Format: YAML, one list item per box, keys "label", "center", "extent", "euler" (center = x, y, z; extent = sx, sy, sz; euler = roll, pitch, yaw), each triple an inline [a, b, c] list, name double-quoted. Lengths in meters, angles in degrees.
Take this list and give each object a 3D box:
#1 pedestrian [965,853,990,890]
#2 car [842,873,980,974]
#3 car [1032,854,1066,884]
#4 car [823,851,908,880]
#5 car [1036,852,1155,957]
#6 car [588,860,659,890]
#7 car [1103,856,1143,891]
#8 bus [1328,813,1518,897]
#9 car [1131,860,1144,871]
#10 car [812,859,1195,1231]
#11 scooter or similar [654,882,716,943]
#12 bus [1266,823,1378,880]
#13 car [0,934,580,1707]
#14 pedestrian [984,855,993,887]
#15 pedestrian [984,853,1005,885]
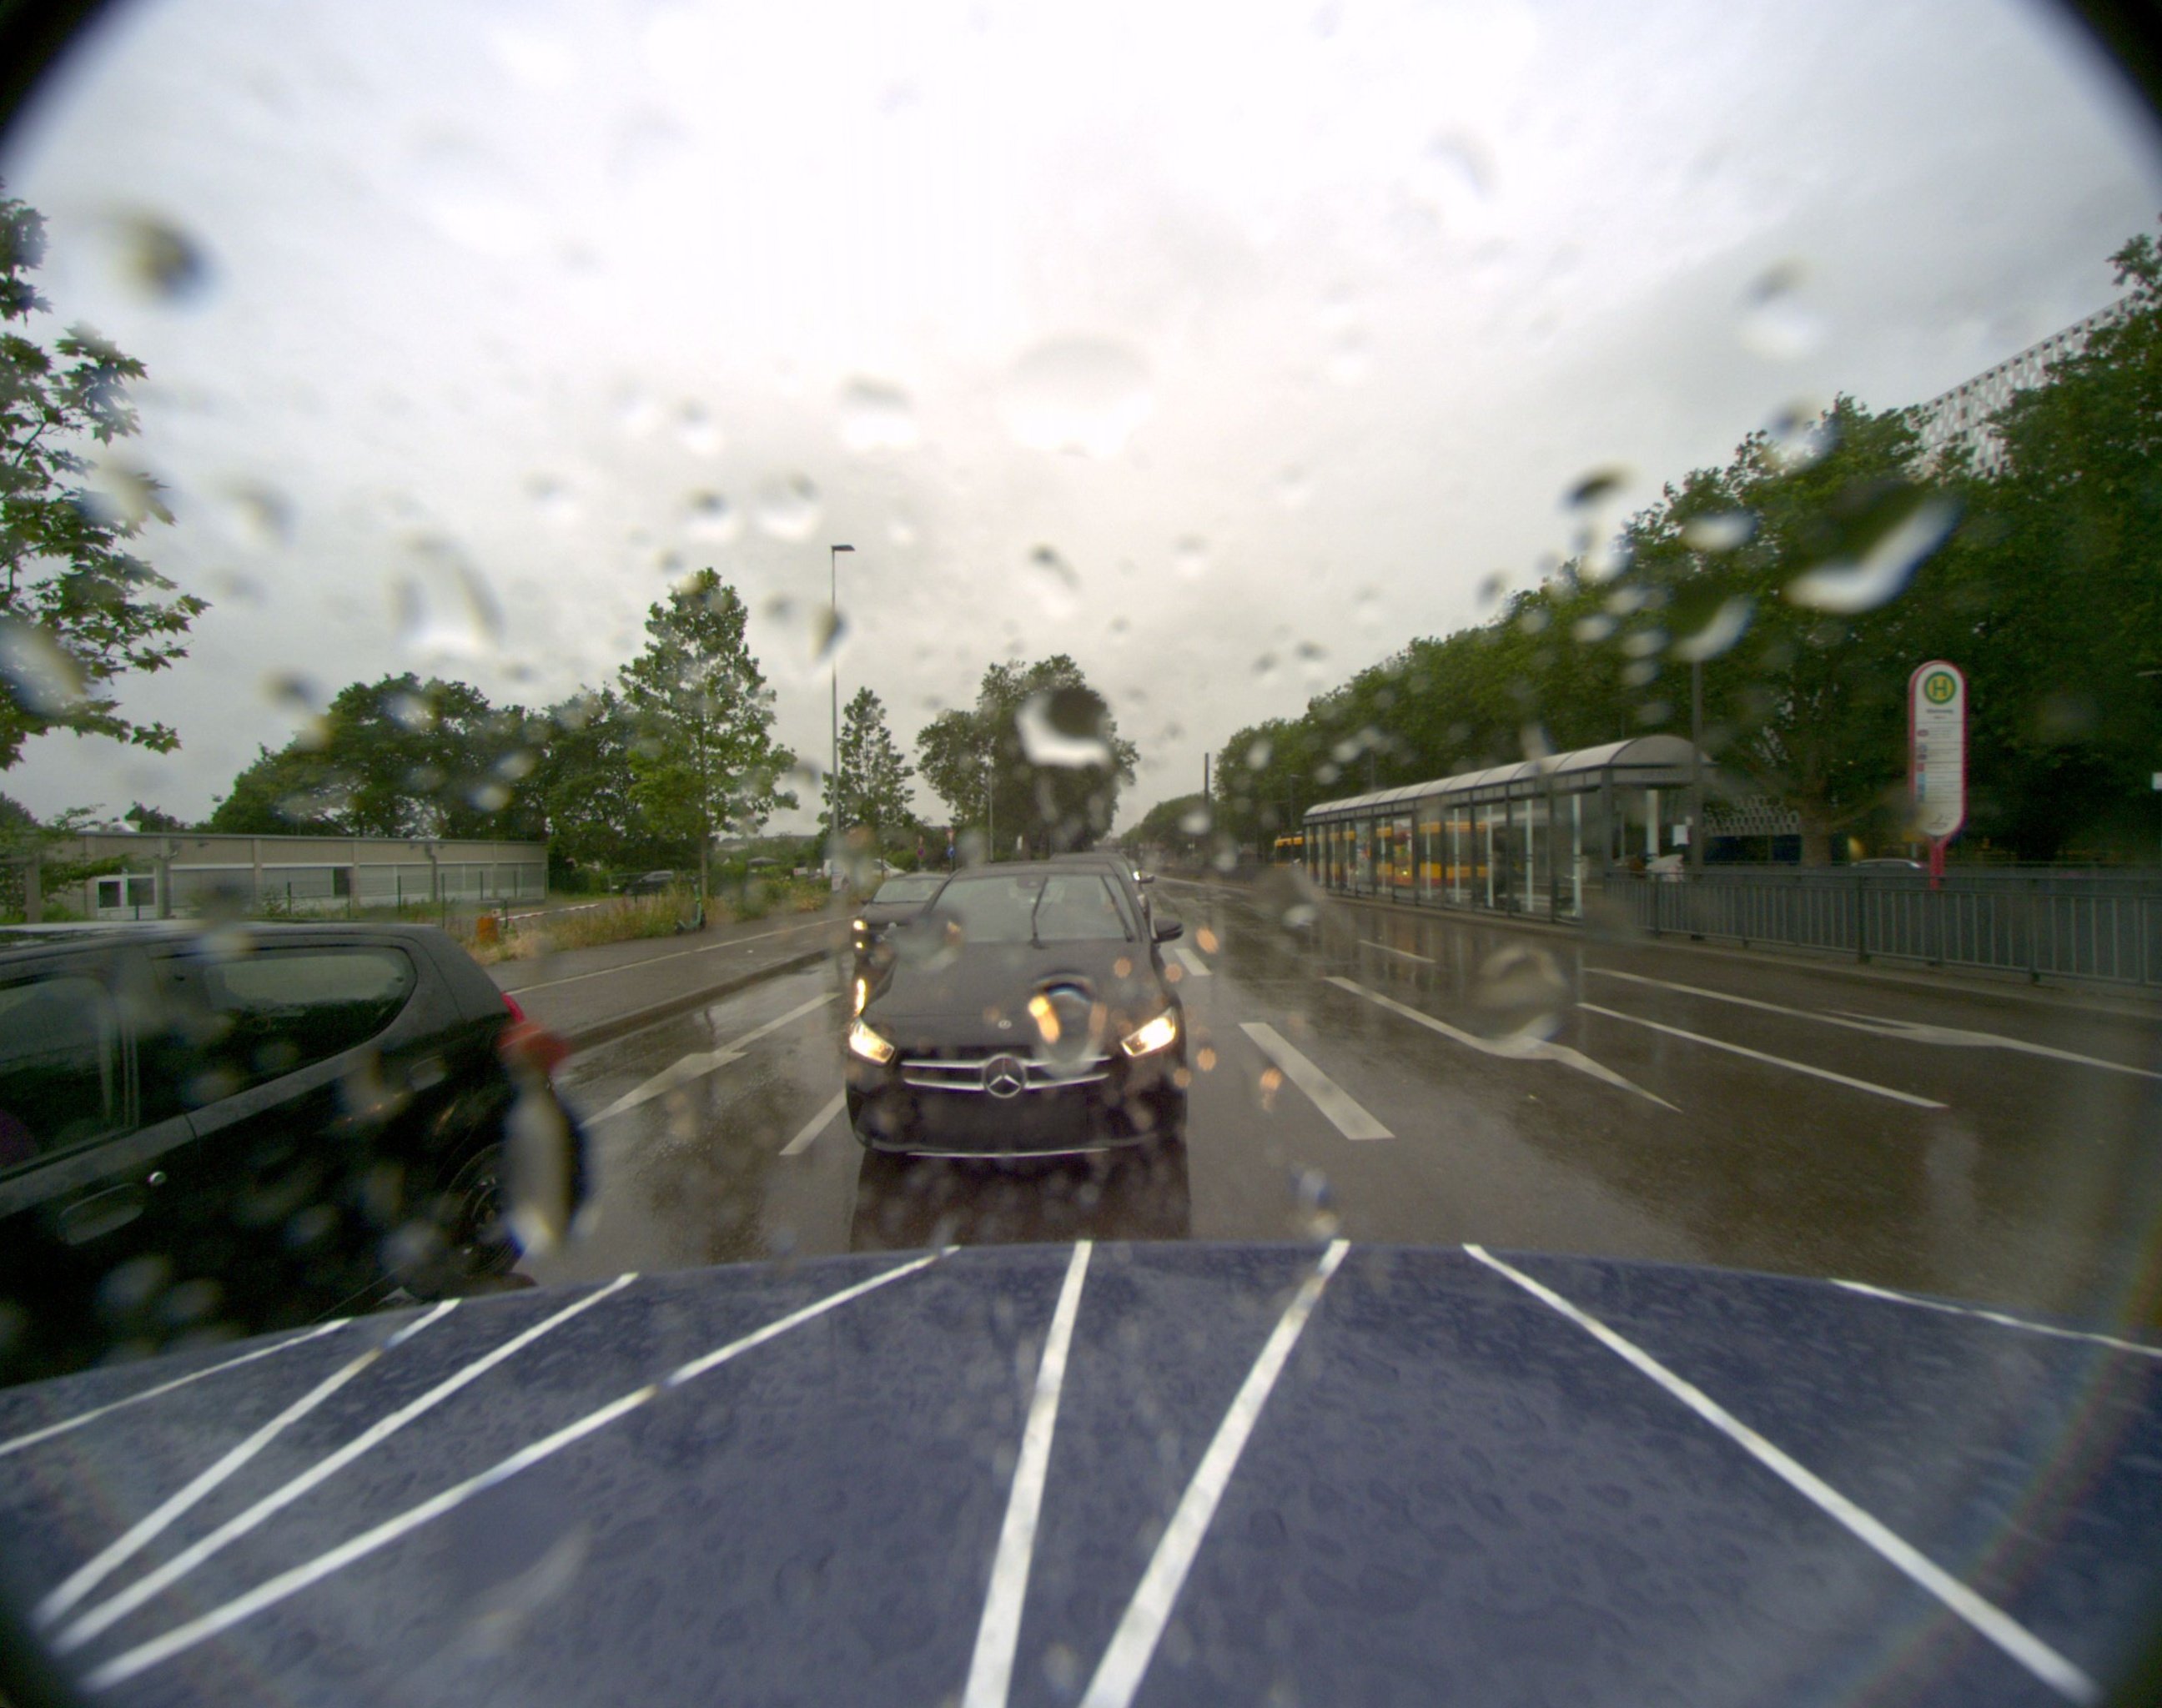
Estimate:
- label: "pedestrian"
  center: [-4.977, 0.843, 36.739]
  extent: [1.082, 1.746, 0.969]
  euler: [0, 1, 0]
- label: "car"
  center: [-2.883, 1.130, 13.647]
  extent: [1.633, 1.420, 3.624]
  euler: [-2, 0, 0]
- label: "car"
  center: [-1.779, 0.846, 43.794]
  extent: [1.698, 1.565, 3.813]
  euler: [-2, 1, 1]
- label: "car"
  center: [-13.549, 0.702, 48.055]
  extent: [4.759, 1.640, 1.999]
  euler: [-2, 1, -2]
- label: "car"
  center: [0.201, 0.718, 12.519]
  extent: [1.633, 1.420, 3.624]
  euler: [-2, 0, 0]
- label: "car"
  center: [-33.970, 1.512, 56.529]
  extent: [3.996, 2.002, 2.000]
  euler: [-2, 1, 2]
- label: "car"
  center: [2.161, 0.968, 39.836]
  extent: [1.794, 1.597, 3.999]
  euler: [-2, 1, 0]
- label: "bus"
  center: [16.312, -0.036, 38.334]
  extent: [2.938, 3.310, 15.061]
  euler: [-2, 1, 1]
- label: "car"
  center: [8.159, 1.609, 110.219]
  extent: [1.766, 1.390, 4.645]
  euler: [-2, 0, 2]
- label: "car"
  center: [-0.325, 0.891, 5.558]
  extent: [1.690, 1.578, 4.163]
  euler: [-2, 1, 1]
- label: "scooter or similar"
  center: [-8.213, 1.178, 15.821]
  extent: [0.381, 1.123, 1.777]
  euler: [0, 1, -1]
- label: "bus"
  center: [16.380, -0.234, 53.384]
  extent: [2.938, 3.310, 15.060]
  euler: [-2, 1, 0]
- label: "car"
  center: [-2.984, 1.075, 1.433]
  extent: [1.633, 1.420, 3.624]
  euler: [-2, 0, 0]
- label: "pedestrian"
  center: [-4.780, 0.878, 39.331]
  extent: [0.401, 1.652, 0.441]
  euler: [1, 1, 0]
- label: "pedestrian"
  center: [-4.785, 0.831, 42.140]
  extent: [1.025, 1.698, 0.891]
  euler: [1, 1, 0]
